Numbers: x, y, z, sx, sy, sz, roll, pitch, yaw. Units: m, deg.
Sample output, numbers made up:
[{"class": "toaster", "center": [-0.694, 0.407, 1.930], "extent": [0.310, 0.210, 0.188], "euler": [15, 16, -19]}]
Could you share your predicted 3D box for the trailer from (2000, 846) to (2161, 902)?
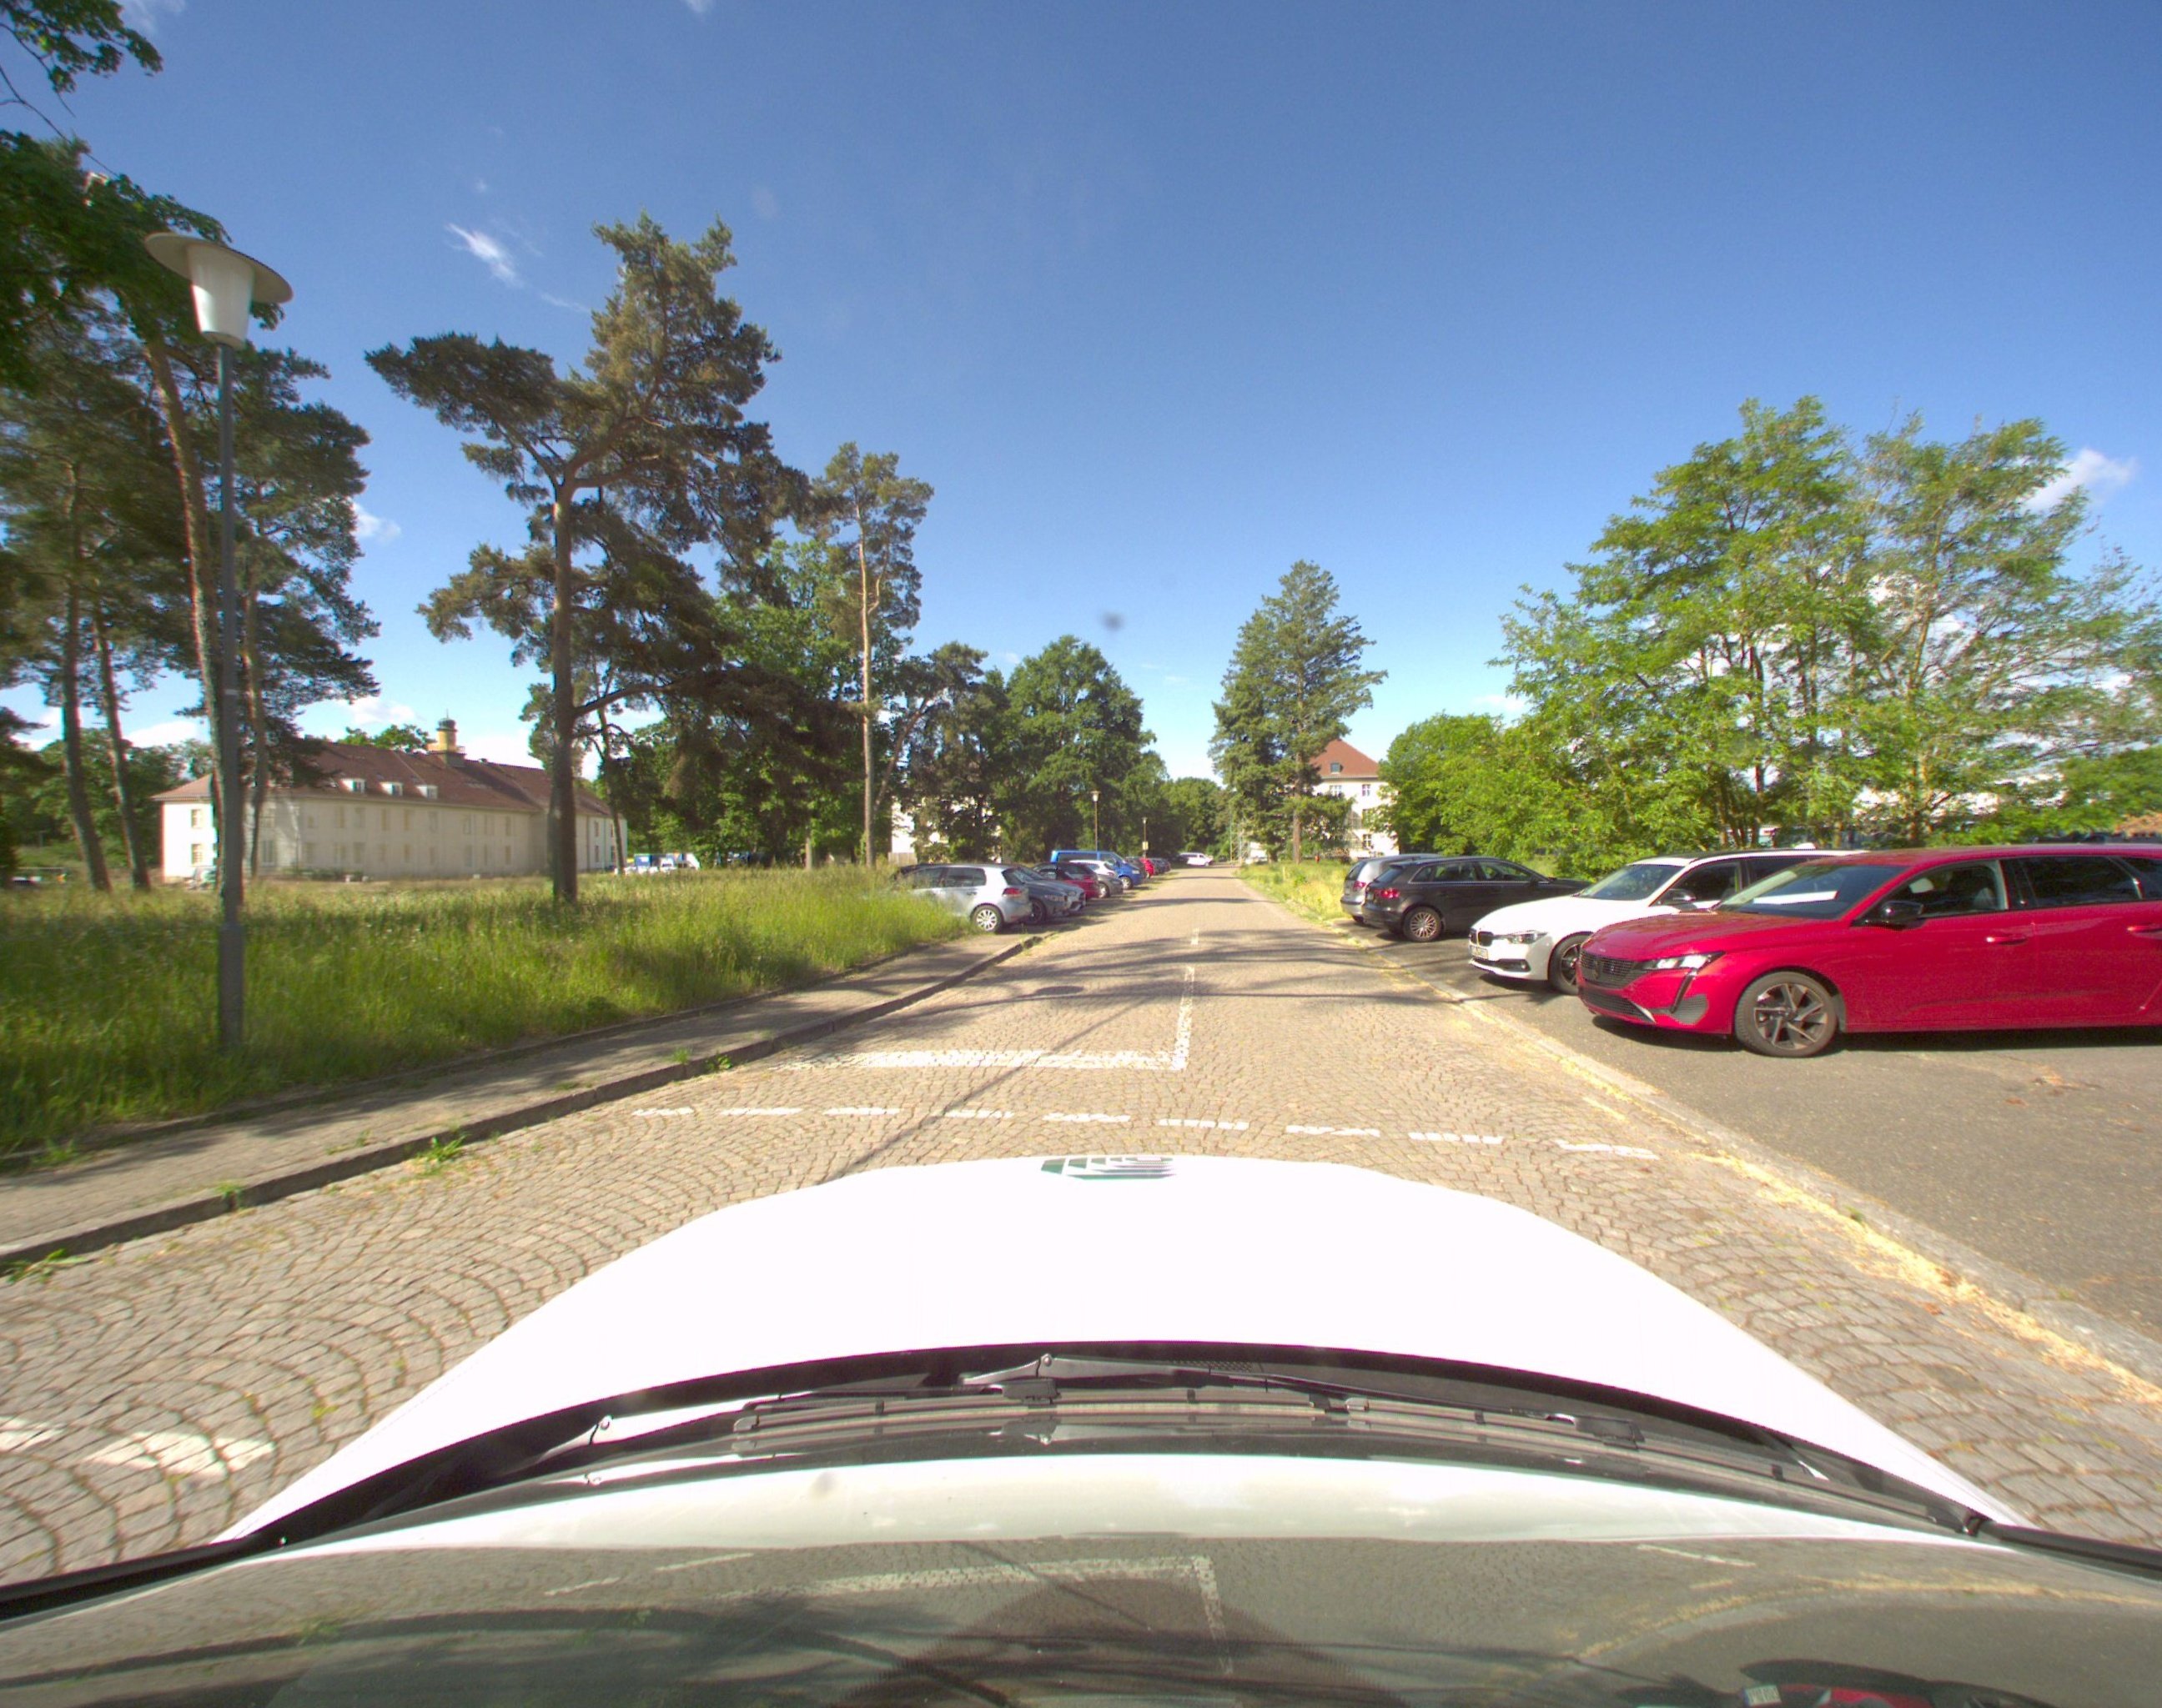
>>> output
[{"class": "trailer", "center": [20.651, 0.396, 16.675], "extent": [2.387, 1.105, 1.037], "euler": [0, 0, 5]}]

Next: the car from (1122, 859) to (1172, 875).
[{"class": "car", "center": [6.109, 1.183, 75.300], "extent": [4.331, 1.445, 1.927], "euler": [0, 0, 11]}]

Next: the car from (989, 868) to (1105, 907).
[{"class": "car", "center": [-1.118, 1.110, 27.768], "extent": [3.608, 1.234, 1.764], "euler": [0, -1, 9]}]

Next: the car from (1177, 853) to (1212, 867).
[{"class": "car", "center": [17.206, 0.900, 123.211], "extent": [5.205, 2.016, 1.954], "euler": [-1, -1, 8]}]

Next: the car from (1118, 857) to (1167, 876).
[{"class": "car", "center": [5.345, 1.070, 70.668], "extent": [4.111, 1.579, 1.889], "euler": [0, 0, 8]}]

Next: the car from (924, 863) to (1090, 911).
[{"class": "car", "center": [-2.275, 0.999, 25.594], "extent": [4.836, 1.421, 1.943], "euler": [0, 0, 9]}]

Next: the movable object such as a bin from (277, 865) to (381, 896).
[{"class": "movable object such as a bin", "center": [-58.629, 2.031, 63.683], "extent": [5.704, 2.125, 2.501], "euler": [-1, -1, -36]}]

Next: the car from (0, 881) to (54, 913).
[{"class": "car", "center": [-57.650, 2.284, 43.311], "extent": [4.203, 1.605, 1.917], "euler": [-2, -1, 9]}]

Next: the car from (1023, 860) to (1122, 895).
[{"class": "car", "center": [-0.335, 1.020, 36.200], "extent": [4.172, 1.475, 1.828], "euler": [0, 0, 8]}]

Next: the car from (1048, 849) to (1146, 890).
[{"class": "car", "center": [0.850, 0.787, 41.375], "extent": [4.690, 1.968, 2.010], "euler": [1, 0, 8]}]

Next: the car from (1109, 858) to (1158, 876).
[{"class": "car", "center": [4.407, 1.105, 68.375], "extent": [3.899, 1.433, 1.847], "euler": [0, 0, 9]}]

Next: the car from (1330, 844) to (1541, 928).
[{"class": "car", "center": [7.411, 0.667, 17.359], "extent": [3.720, 1.476, 1.755], "euler": [-4, -1, 6]}]

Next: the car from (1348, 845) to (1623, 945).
[{"class": "car", "center": [7.076, 0.696, 14.627], "extent": [3.983, 1.441, 1.847], "euler": [-4, 0, 6]}]

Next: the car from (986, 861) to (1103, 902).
[{"class": "car", "center": [-1.313, 1.013, 30.500], "extent": [4.052, 1.452, 1.826], "euler": [0, -1, 9]}]

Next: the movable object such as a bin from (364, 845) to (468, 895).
[{"class": "movable object such as a bin", "center": [-53.149, 1.270, 65.381], "extent": [3.925, 3.731, 6.756], "euler": [-1, -1, -15]}]

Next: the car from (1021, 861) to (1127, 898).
[{"class": "car", "center": [-0.241, 1.012, 33.269], "extent": [4.052, 1.425, 1.928], "euler": [0, 0, 9]}]

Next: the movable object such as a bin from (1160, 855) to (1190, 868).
[{"class": "movable object such as a bin", "center": [12.800, 0.997, 110.580], "extent": [3.532, 1.745, 2.037], "euler": [-2, -1, 27]}]

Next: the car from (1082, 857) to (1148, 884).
[{"class": "car", "center": [2.137, 0.993, 50.258], "extent": [3.932, 1.567, 1.978], "euler": [1, 1, 7]}]

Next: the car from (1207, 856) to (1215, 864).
[{"class": "car", "center": [30.040, 1.395, 188.214], "extent": [1.802, 1.579, 4.144], "euler": [-2, -1, 8]}]

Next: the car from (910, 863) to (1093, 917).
[{"class": "car", "center": [-2.203, 0.986, 23.211], "extent": [4.836, 1.421, 1.943], "euler": [0, -1, 9]}]

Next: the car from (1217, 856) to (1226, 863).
[{"class": "car", "center": [32.451, 1.288, 188.173], "extent": [1.960, 1.668, 4.095], "euler": [-2, -1, 8]}]

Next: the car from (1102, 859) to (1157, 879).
[{"class": "car", "center": [3.636, 1.101, 60.503], "extent": [3.902, 1.461, 1.846], "euler": [0, 0, 7]}]

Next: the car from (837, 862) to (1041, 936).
[{"class": "car", "center": [-3.036, 0.937, 17.922], "extent": [4.005, 1.483, 1.953], "euler": [0, 0, 6]}]

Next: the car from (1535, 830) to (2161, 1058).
[{"class": "car", "center": [6.487, 0.642, 6.567], "extent": [4.512, 1.421, 1.898], "euler": [-3, -1, 7]}]

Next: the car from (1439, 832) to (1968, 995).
[{"class": "car", "center": [6.796, 0.643, 9.371], "extent": [4.490, 1.465, 1.842], "euler": [-3, -1, 5]}]

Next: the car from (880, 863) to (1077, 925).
[{"class": "car", "center": [-2.480, 0.972, 20.496], "extent": [4.559, 1.452, 1.987], "euler": [0, -1, 5]}]

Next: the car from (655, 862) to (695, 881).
[{"class": "car", "center": [-52.989, 2.267, 106.444], "extent": [1.972, 2.437, 5.290], "euler": [-2, -1, 9]}]
